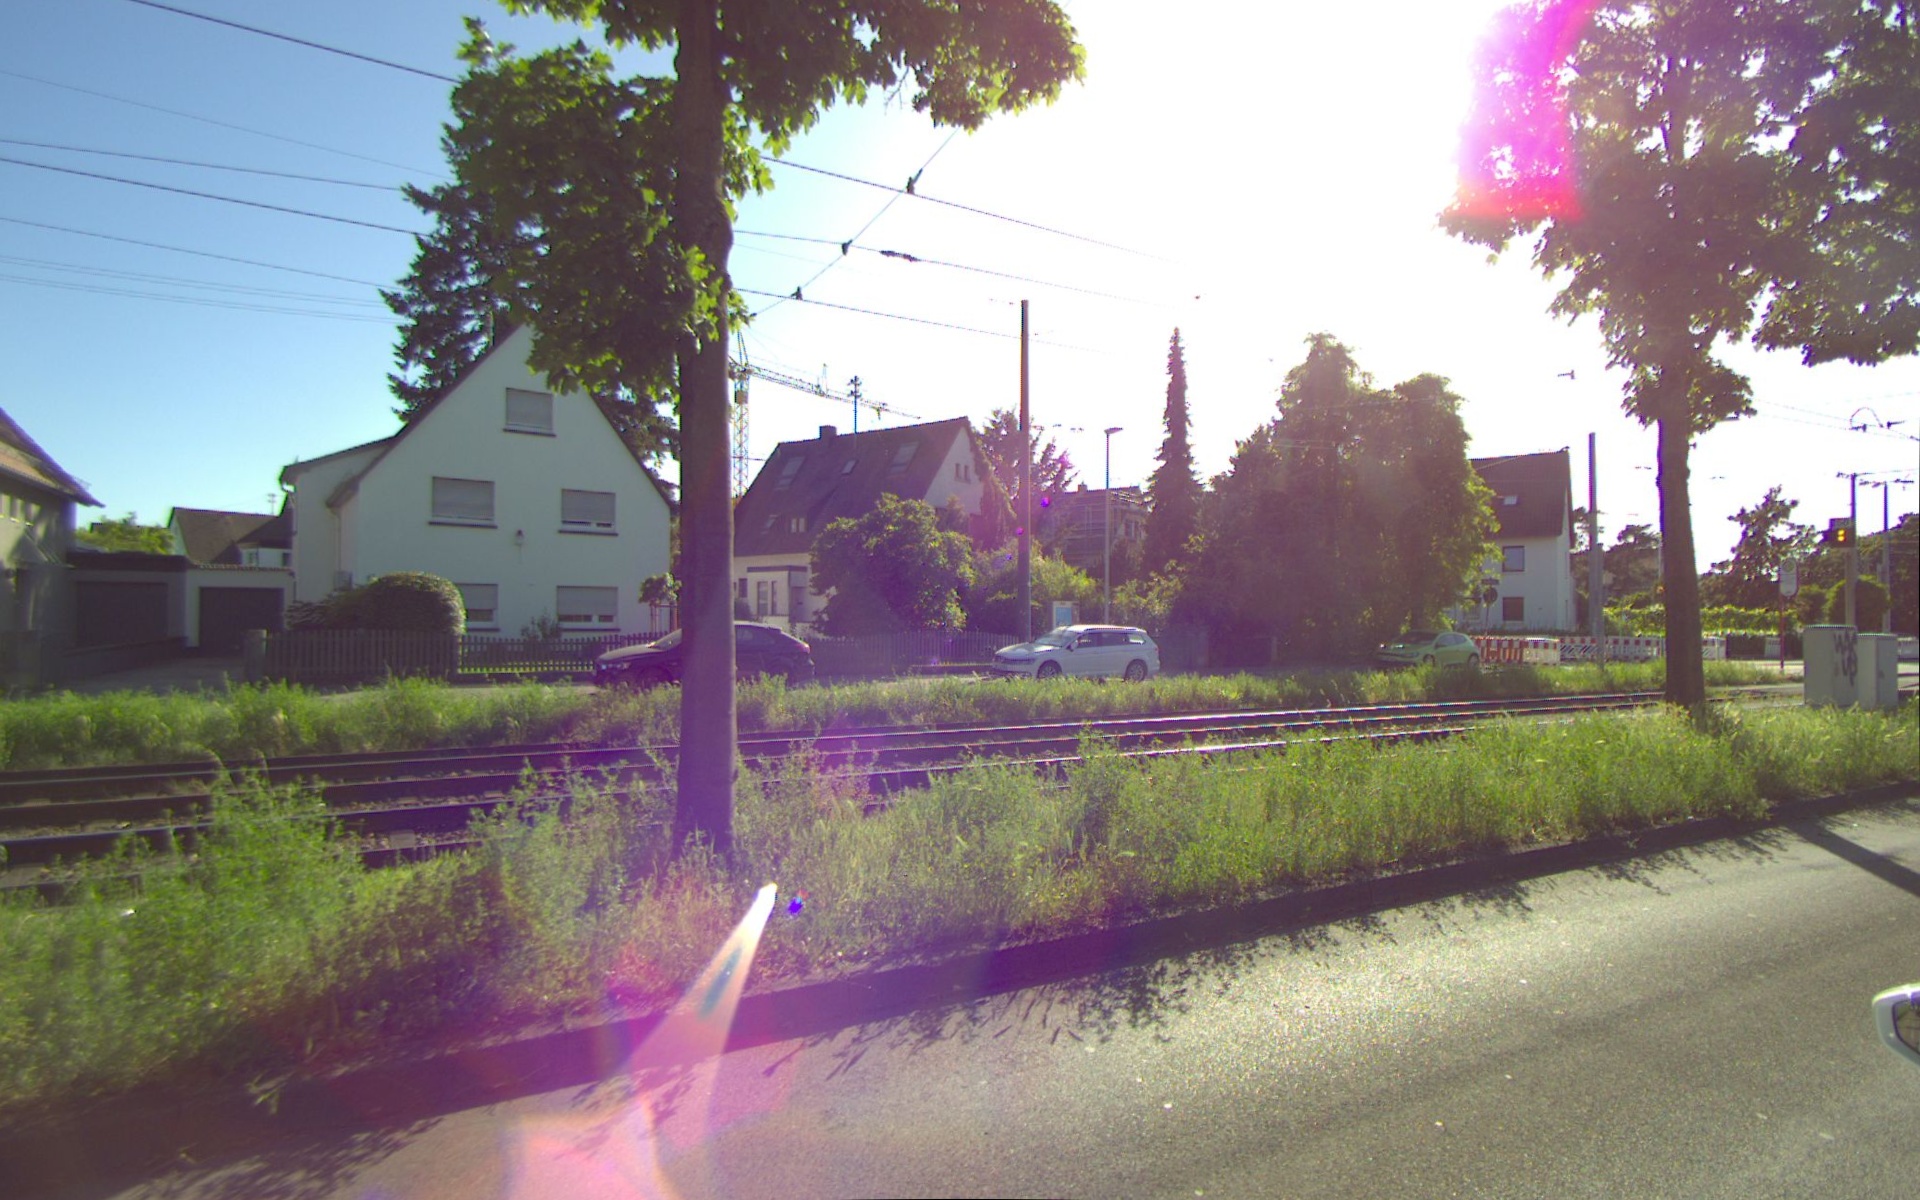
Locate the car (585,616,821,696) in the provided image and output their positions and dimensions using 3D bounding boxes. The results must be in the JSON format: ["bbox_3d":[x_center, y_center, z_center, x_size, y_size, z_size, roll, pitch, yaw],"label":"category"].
[{"bbox_3d":[-5.309,1.130,20.873,4.389,1.485,1.898,2,0,-30],"label":"car"}]

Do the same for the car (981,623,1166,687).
[{"bbox_3d":[2.956,1.389,25.904,4.563,1.492,1.874,2,0,-32],"label":"car"}]

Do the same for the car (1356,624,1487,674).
[{"bbox_3d":[15.374,1.623,33.457,4.020,1.521,1.985,2,0,-29],"label":"car"}]
